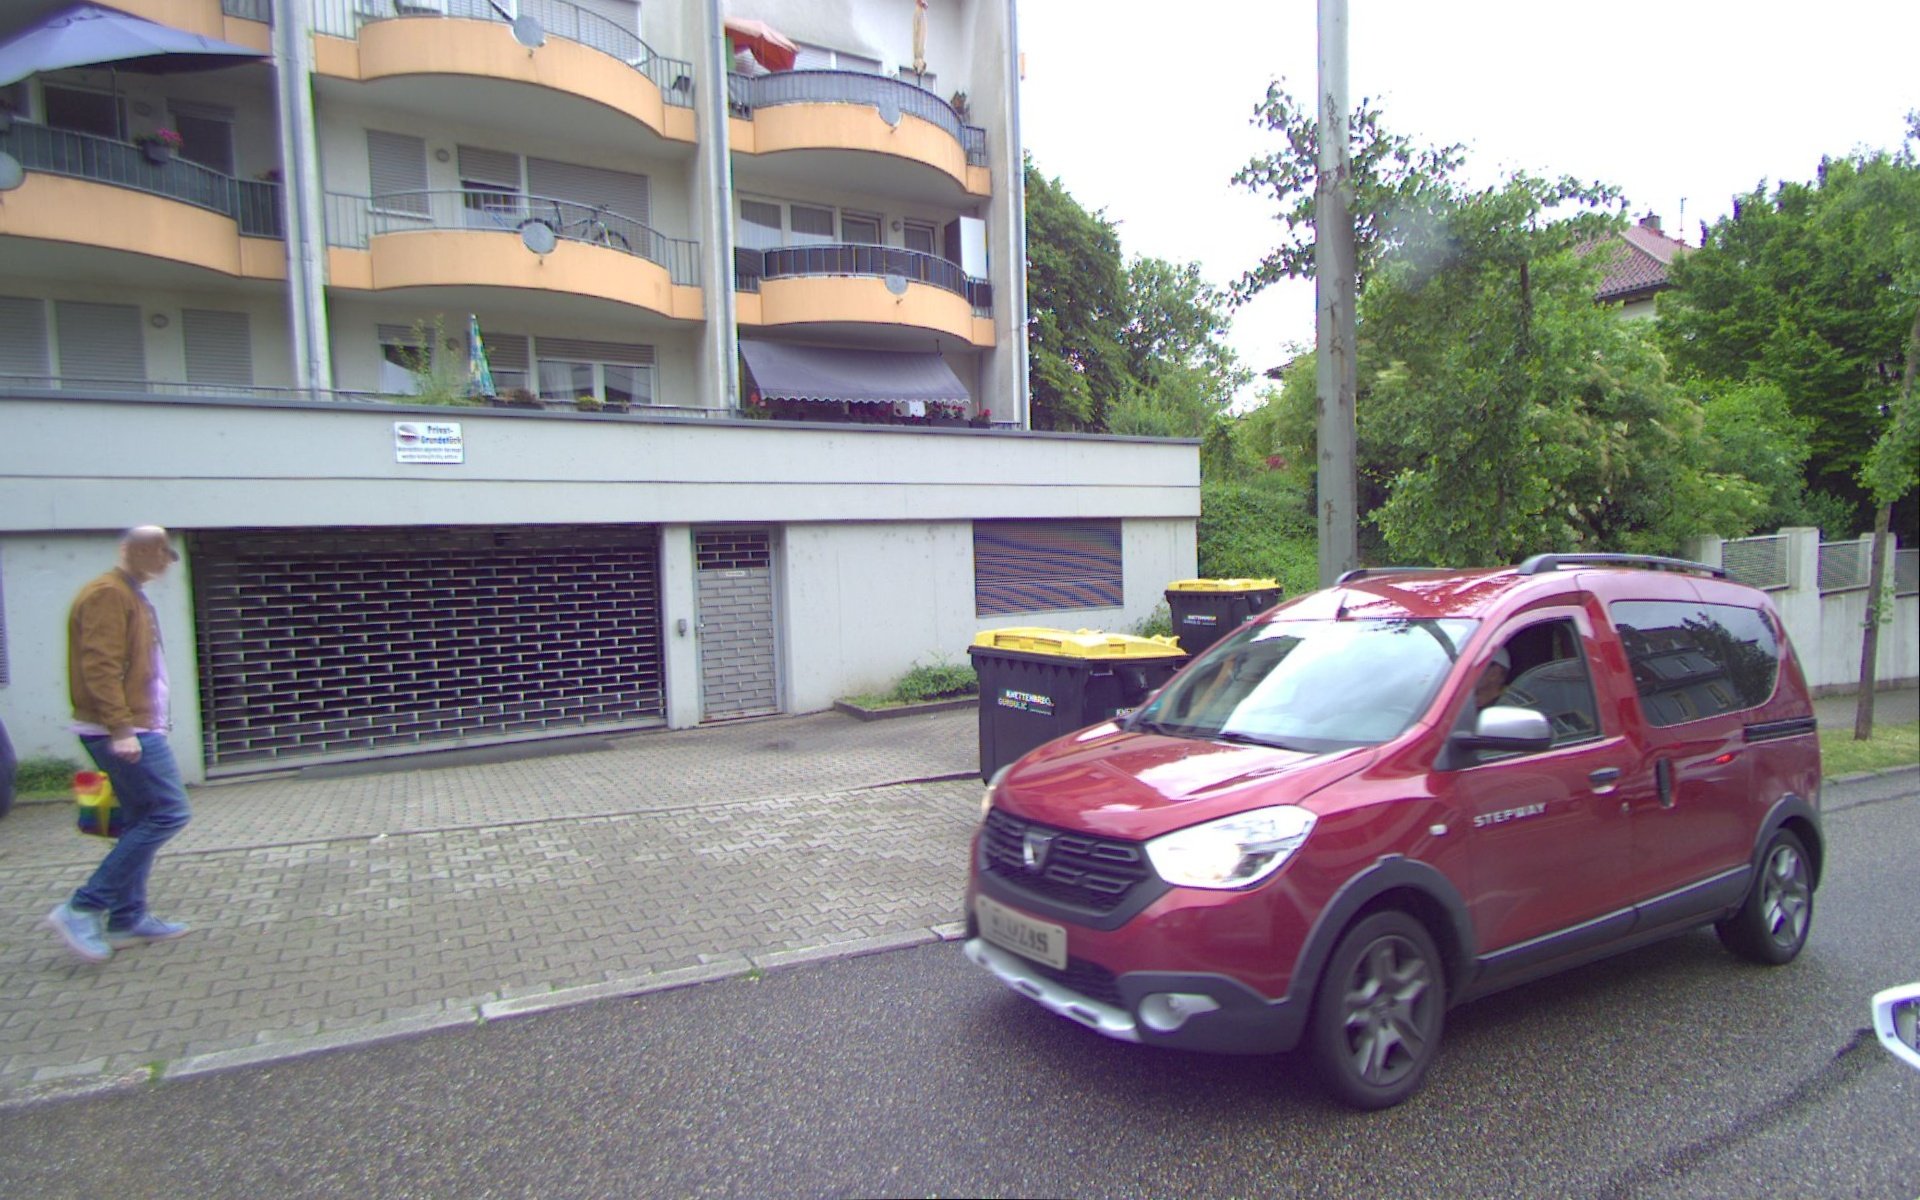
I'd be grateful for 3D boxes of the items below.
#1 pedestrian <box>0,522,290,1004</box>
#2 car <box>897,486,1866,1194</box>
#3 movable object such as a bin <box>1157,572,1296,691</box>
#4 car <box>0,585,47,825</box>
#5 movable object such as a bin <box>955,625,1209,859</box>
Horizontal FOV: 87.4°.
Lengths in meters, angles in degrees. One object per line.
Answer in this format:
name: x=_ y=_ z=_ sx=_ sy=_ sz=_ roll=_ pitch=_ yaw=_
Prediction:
pedestrian: x=-3.536 y=0.603 z=4.214 sx=1.059 sy=1.806 sz=0.819 roll=2 pitch=2 yaw=-25
car: x=2.075 y=0.692 z=4.518 sx=4.406 sy=1.852 sz=1.738 roll=2 pitch=-2 yaw=-30
movable object such as a bin: x=3.553 y=0.371 z=13.415 sx=1.215 sy=1.383 sz=1.289 roll=-7 pitch=6 yaw=-36
car: x=-8.114 y=0.672 z=5.666 sx=4.050 sy=1.582 sz=1.770 roll=1 pitch=-4 yaw=-31
movable object such as a bin: x=0.810 y=0.874 z=6.870 sx=1.145 sy=1.324 sz=1.288 roll=0 pitch=2 yaw=-38
